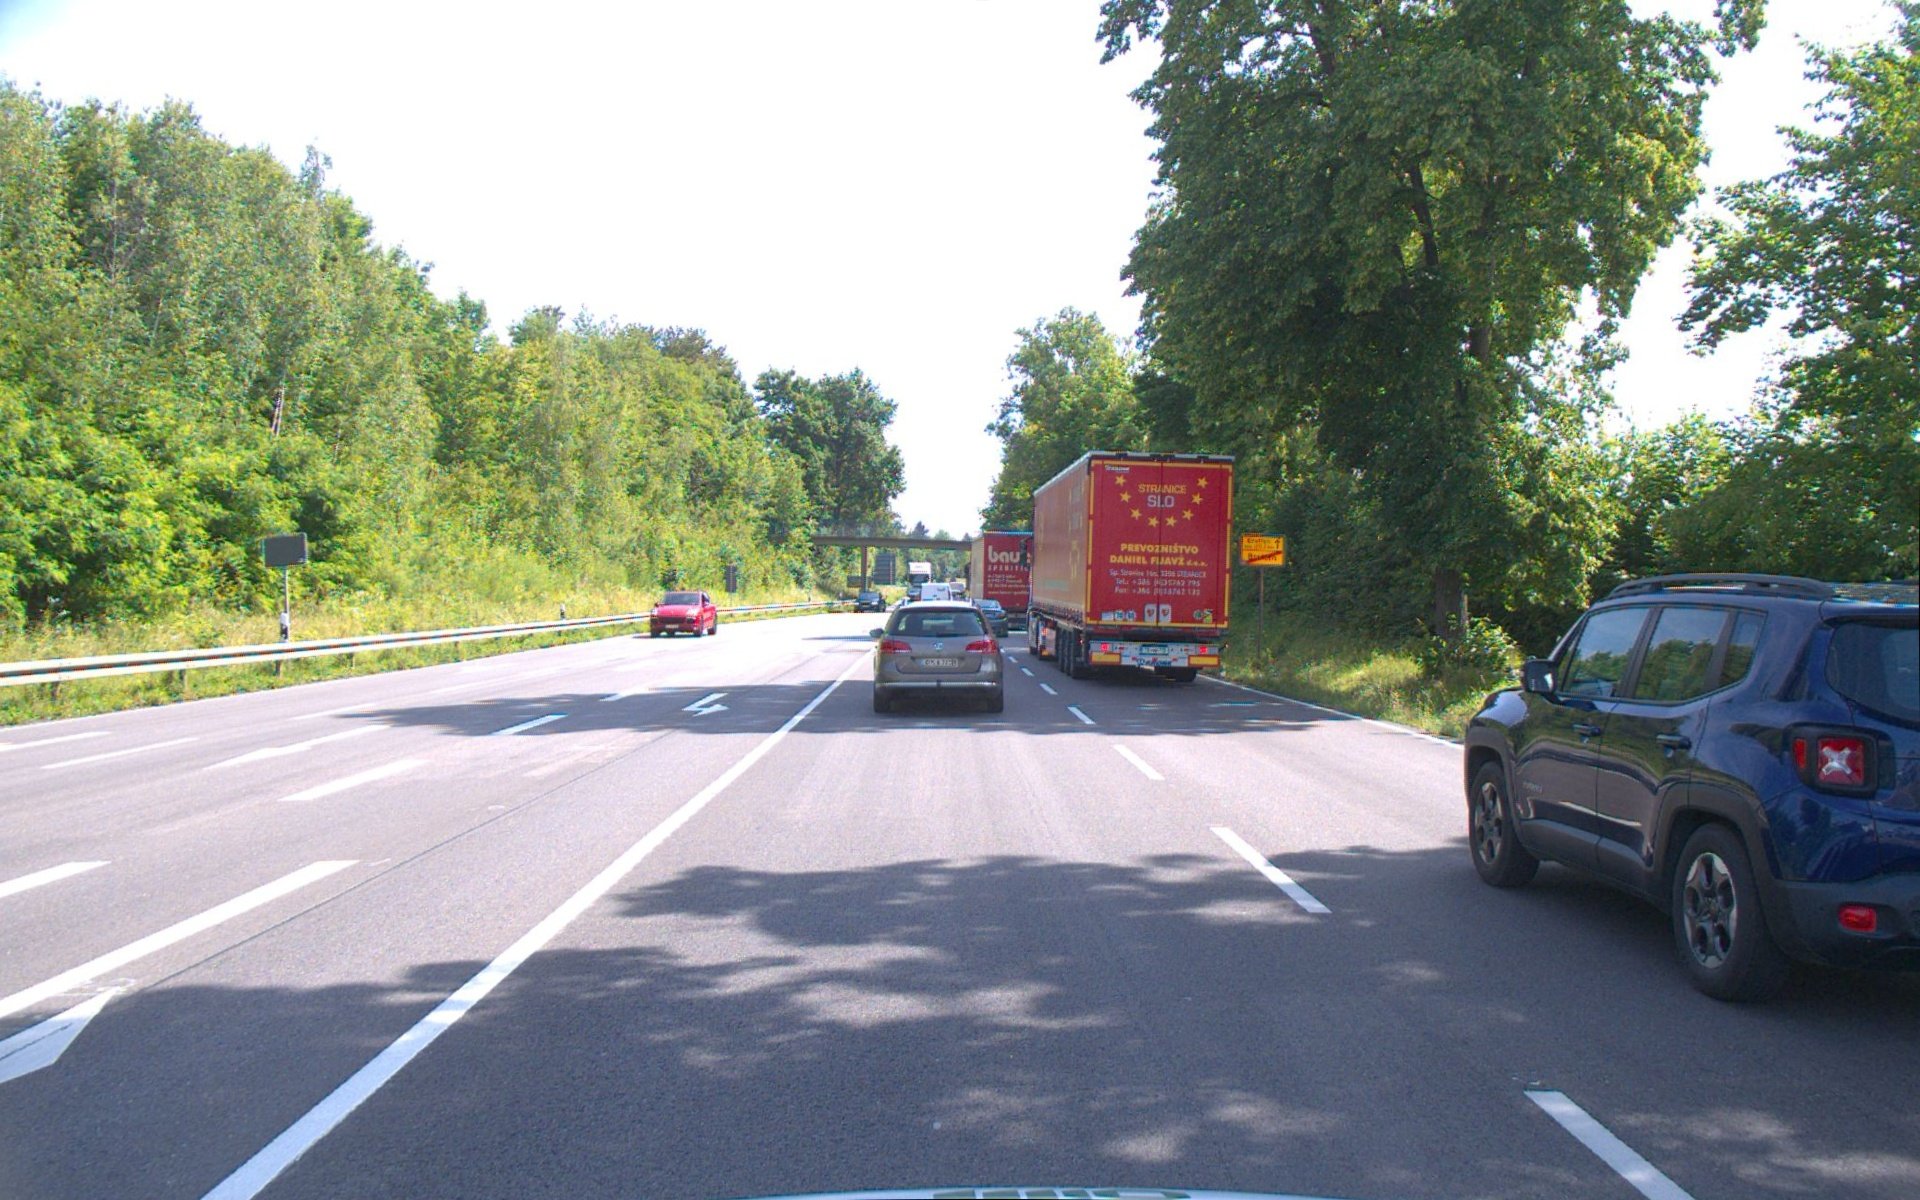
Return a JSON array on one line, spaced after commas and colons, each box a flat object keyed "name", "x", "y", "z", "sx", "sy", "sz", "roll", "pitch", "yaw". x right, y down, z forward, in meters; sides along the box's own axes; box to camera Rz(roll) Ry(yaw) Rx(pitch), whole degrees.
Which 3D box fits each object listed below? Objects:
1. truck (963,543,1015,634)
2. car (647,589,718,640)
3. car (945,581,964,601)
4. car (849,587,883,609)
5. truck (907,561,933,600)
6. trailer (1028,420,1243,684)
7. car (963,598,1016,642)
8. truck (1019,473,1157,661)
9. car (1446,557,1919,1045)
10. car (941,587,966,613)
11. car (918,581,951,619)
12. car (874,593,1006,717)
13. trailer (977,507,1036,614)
[{"name": "truck", "x": 1.415, "y": -0.538, "z": 80.095, "sx": 2.357, "sy": 4.200, "sz": 5.521, "roll": -1, "pitch": 0, "yaw": 1}, {"name": "car", "x": -10.549, "y": 0.543, "z": 63.203, "sx": 1.933, "sy": 1.828, "sz": 4.807, "roll": -1, "pitch": 0, "yaw": -1}, {"name": "car", "x": -0.613, "y": -0.931, "z": 175.335, "sx": 1.953, "sy": 2.049, "sz": 3.999, "roll": -1, "pitch": 0, "yaw": -1}, {"name": "car", "x": -6.505, "y": -0.131, "z": 115.354, "sx": 1.922, "sy": 1.439, "sz": 4.001, "roll": 0, "pitch": 0, "yaw": 3}, {"name": "truck", "x": -4.395, "y": -2.055, "z": 180.231, "sx": 2.718, "sy": 4.000, "sz": 9.463, "roll": 0, "pitch": 0, "yaw": -2}, {"name": "trailer", "x": 3.265, "y": -0.789, "z": 34.825, "sx": 2.782, "sy": 4.442, "sz": 13.163, "roll": 1, "pitch": 0, "yaw": -1}, {"name": "car", "x": 1.041, "y": 0.712, "z": 60.289, "sx": 1.734, "sy": 1.539, "sz": 3.999, "roll": -1, "pitch": 0, "yaw": -1}, {"name": "truck", "x": 3.096, "y": -0.757, "z": 41.582, "sx": 2.812, "sy": 4.356, "sz": 5.837, "roll": 1, "pitch": 0, "yaw": -1}, {"name": "car", "x": 3.797, "y": 0.694, "z": 7.759, "sx": 1.734, "sy": 1.683, "sz": 3.998, "roll": -1, "pitch": 0, "yaw": -2}, {"name": "car", "x": -0.557, "y": 0.027, "z": 133.975, "sx": 1.953, "sy": 2.049, "sz": 3.999, "roll": -1, "pitch": 0, "yaw": -1}, {"name": "car", "x": -1.414, "y": 0.012, "z": 90.360, "sx": 1.734, "sy": 1.970, "sz": 3.976, "roll": -1, "pitch": 0, "yaw": -1}, {"name": "car", "x": -0.299, "y": 0.711, "z": 22.995, "sx": 1.657, "sy": 1.539, "sz": 3.999, "roll": -1, "pitch": 0, "yaw": -1}, {"name": "trailer", "x": 2.018, "y": -1.581, "z": 73.999, "sx": 2.346, "sy": 4.317, "sz": 13.078, "roll": -1, "pitch": 0, "yaw": 1}]
